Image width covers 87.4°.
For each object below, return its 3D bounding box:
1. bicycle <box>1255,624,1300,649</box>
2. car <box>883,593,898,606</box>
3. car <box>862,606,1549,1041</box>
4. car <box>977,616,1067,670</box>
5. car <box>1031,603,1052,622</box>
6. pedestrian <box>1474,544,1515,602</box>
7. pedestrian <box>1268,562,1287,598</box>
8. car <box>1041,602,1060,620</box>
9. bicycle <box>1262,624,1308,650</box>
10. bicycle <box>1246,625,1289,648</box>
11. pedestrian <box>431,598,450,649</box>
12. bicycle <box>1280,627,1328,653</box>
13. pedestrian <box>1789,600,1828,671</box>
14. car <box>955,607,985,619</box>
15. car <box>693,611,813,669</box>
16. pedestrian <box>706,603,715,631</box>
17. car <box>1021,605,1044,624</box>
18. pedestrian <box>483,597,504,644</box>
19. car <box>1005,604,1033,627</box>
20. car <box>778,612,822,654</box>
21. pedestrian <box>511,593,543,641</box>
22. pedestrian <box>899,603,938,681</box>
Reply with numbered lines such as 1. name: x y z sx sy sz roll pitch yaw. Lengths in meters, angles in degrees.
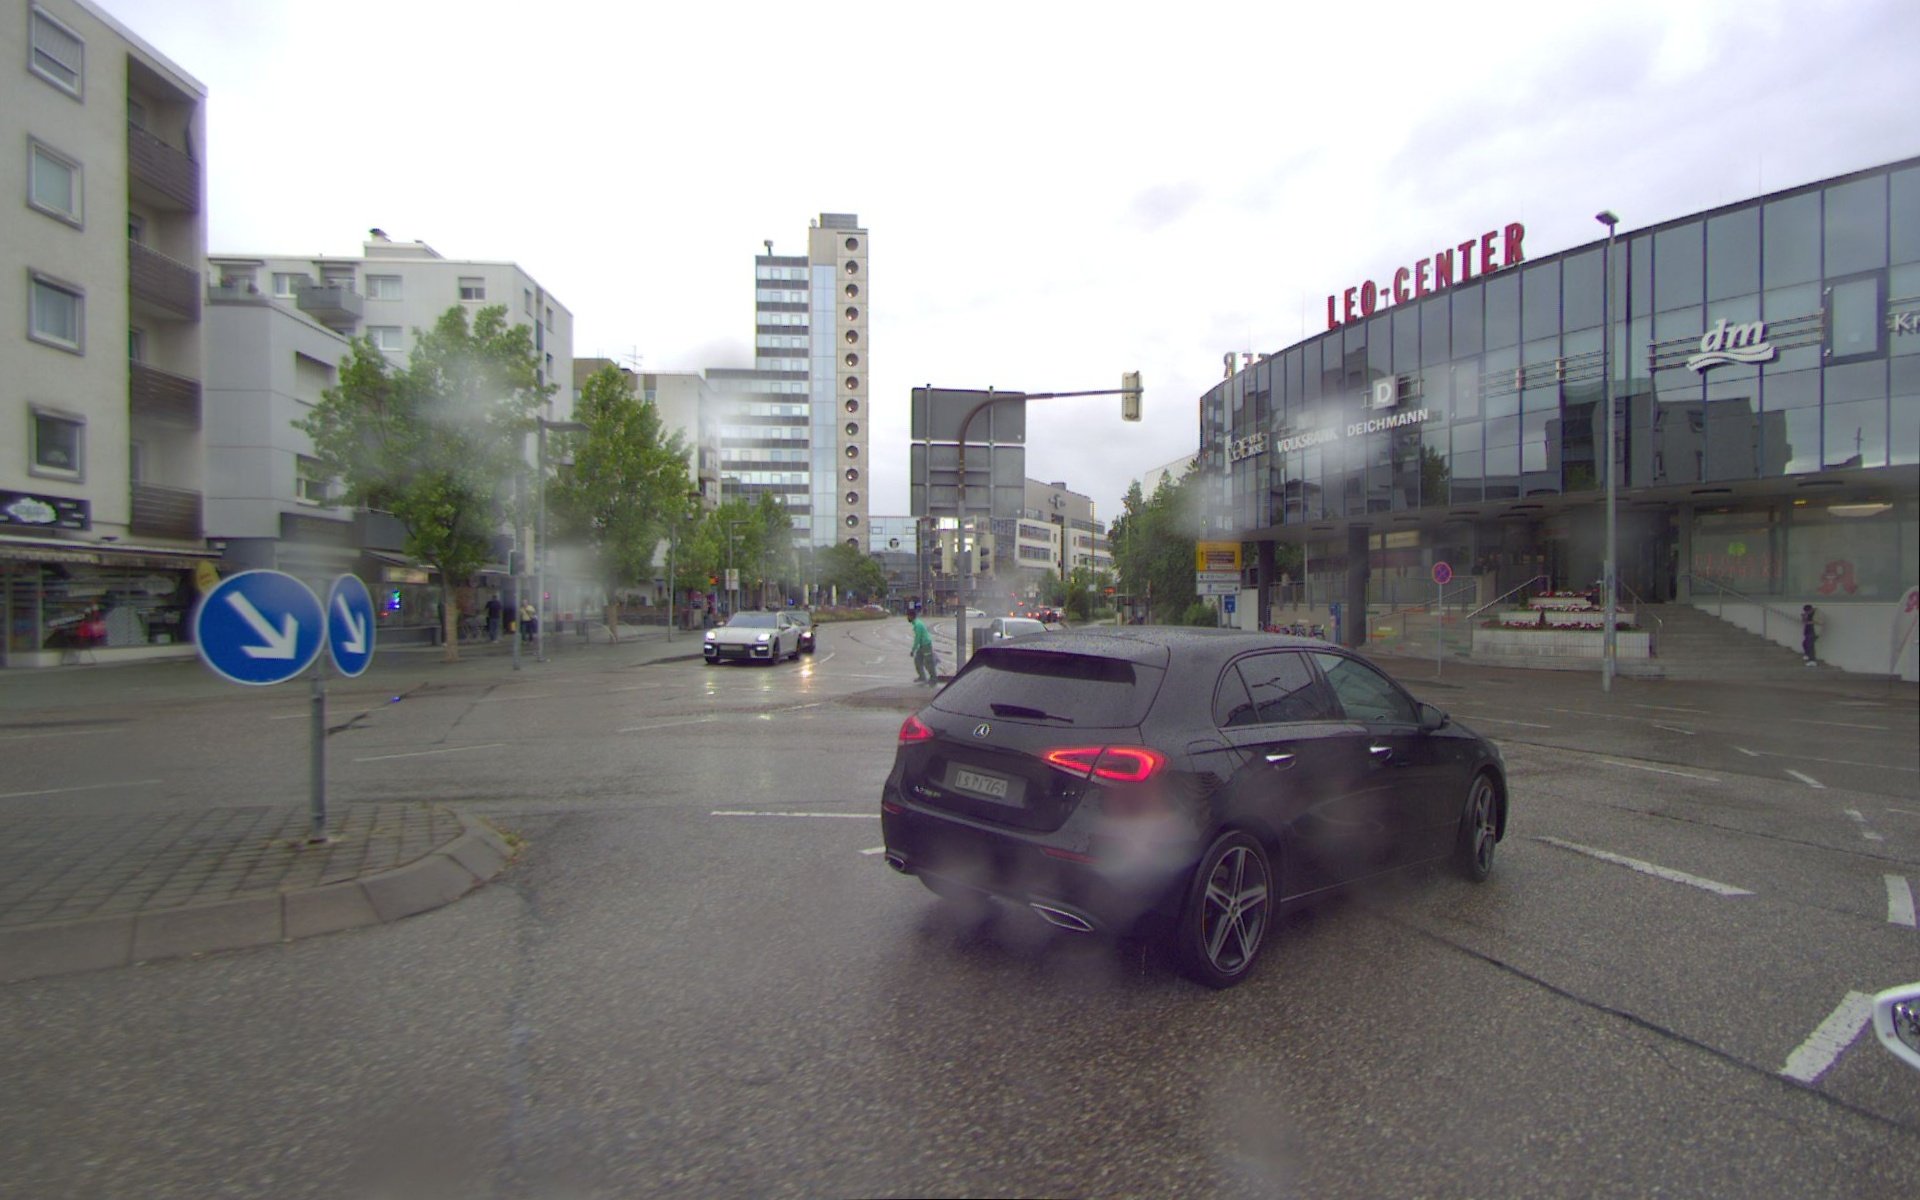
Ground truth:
1. bicycle: 14.218 1.622 45.016 1.820 1.047 0.628 -2 0 -8
2. car: -8.709 -0.088 126.542 1.664 1.654 3.510 1 1 -2
3. car: 1.599 0.820 5.553 4.062 1.501 1.648 1 1 -41
4. car: 1.792 1.245 30.254 1.716 1.460 3.984 1 0 -12
5. car: 8.351 1.269 102.600 1.877 1.748 3.811 1 1 9
6. pedestrian: 19.182 -0.977 36.062 0.937 2.041 0.829 1 1 -17
7. pedestrian: 15.564 -0.988 49.210 0.642 1.737 0.599 2 1 -3
8. car: 9.912 1.157 109.319 1.798 1.794 3.858 1 1 9
9. bicycle: 14.325 1.622 44.265 1.820 1.056 0.647 -2 0 -8
10. bicycle: 13.990 1.661 45.696 1.819 0.964 0.535 -2 1 -5
11. pedestrian: -18.086 0.807 34.972 0.441 1.747 0.500 1 0 -9
12. bicycle: 14.616 1.682 42.690 1.820 1.037 0.631 -1 0 -8
13. pedestrian: 23.829 0.989 28.207 0.589 1.934 0.651 1 1 -34
14. car: 1.365 1.798 137.035 3.820 1.538 1.783 1 1 -7
15. car: -5.849 1.093 29.118 2.081 1.432 5.148 2 -1 3
16. pedestrian: -15.707 1.062 63.239 0.480 1.741 0.537 1 1 -10
17. car: 6.961 1.405 96.133 1.854 1.694 4.002 1 1 9
18. pedestrian: -18.202 0.814 39.218 0.557 1.817 0.492 1 0 0
19. car: 5.219 1.340 88.834 2.008 1.921 4.141 1 1 10
20. car: -5.686 1.152 35.987 1.413 1.314 3.772 1 0 -7
21. pedestrian: -16.811 0.660 39.020 0.858 1.835 0.924 1 0 -7
22. pedestrian: -0.910 0.894 21.707 0.793 1.645 0.951 1 0 -5
